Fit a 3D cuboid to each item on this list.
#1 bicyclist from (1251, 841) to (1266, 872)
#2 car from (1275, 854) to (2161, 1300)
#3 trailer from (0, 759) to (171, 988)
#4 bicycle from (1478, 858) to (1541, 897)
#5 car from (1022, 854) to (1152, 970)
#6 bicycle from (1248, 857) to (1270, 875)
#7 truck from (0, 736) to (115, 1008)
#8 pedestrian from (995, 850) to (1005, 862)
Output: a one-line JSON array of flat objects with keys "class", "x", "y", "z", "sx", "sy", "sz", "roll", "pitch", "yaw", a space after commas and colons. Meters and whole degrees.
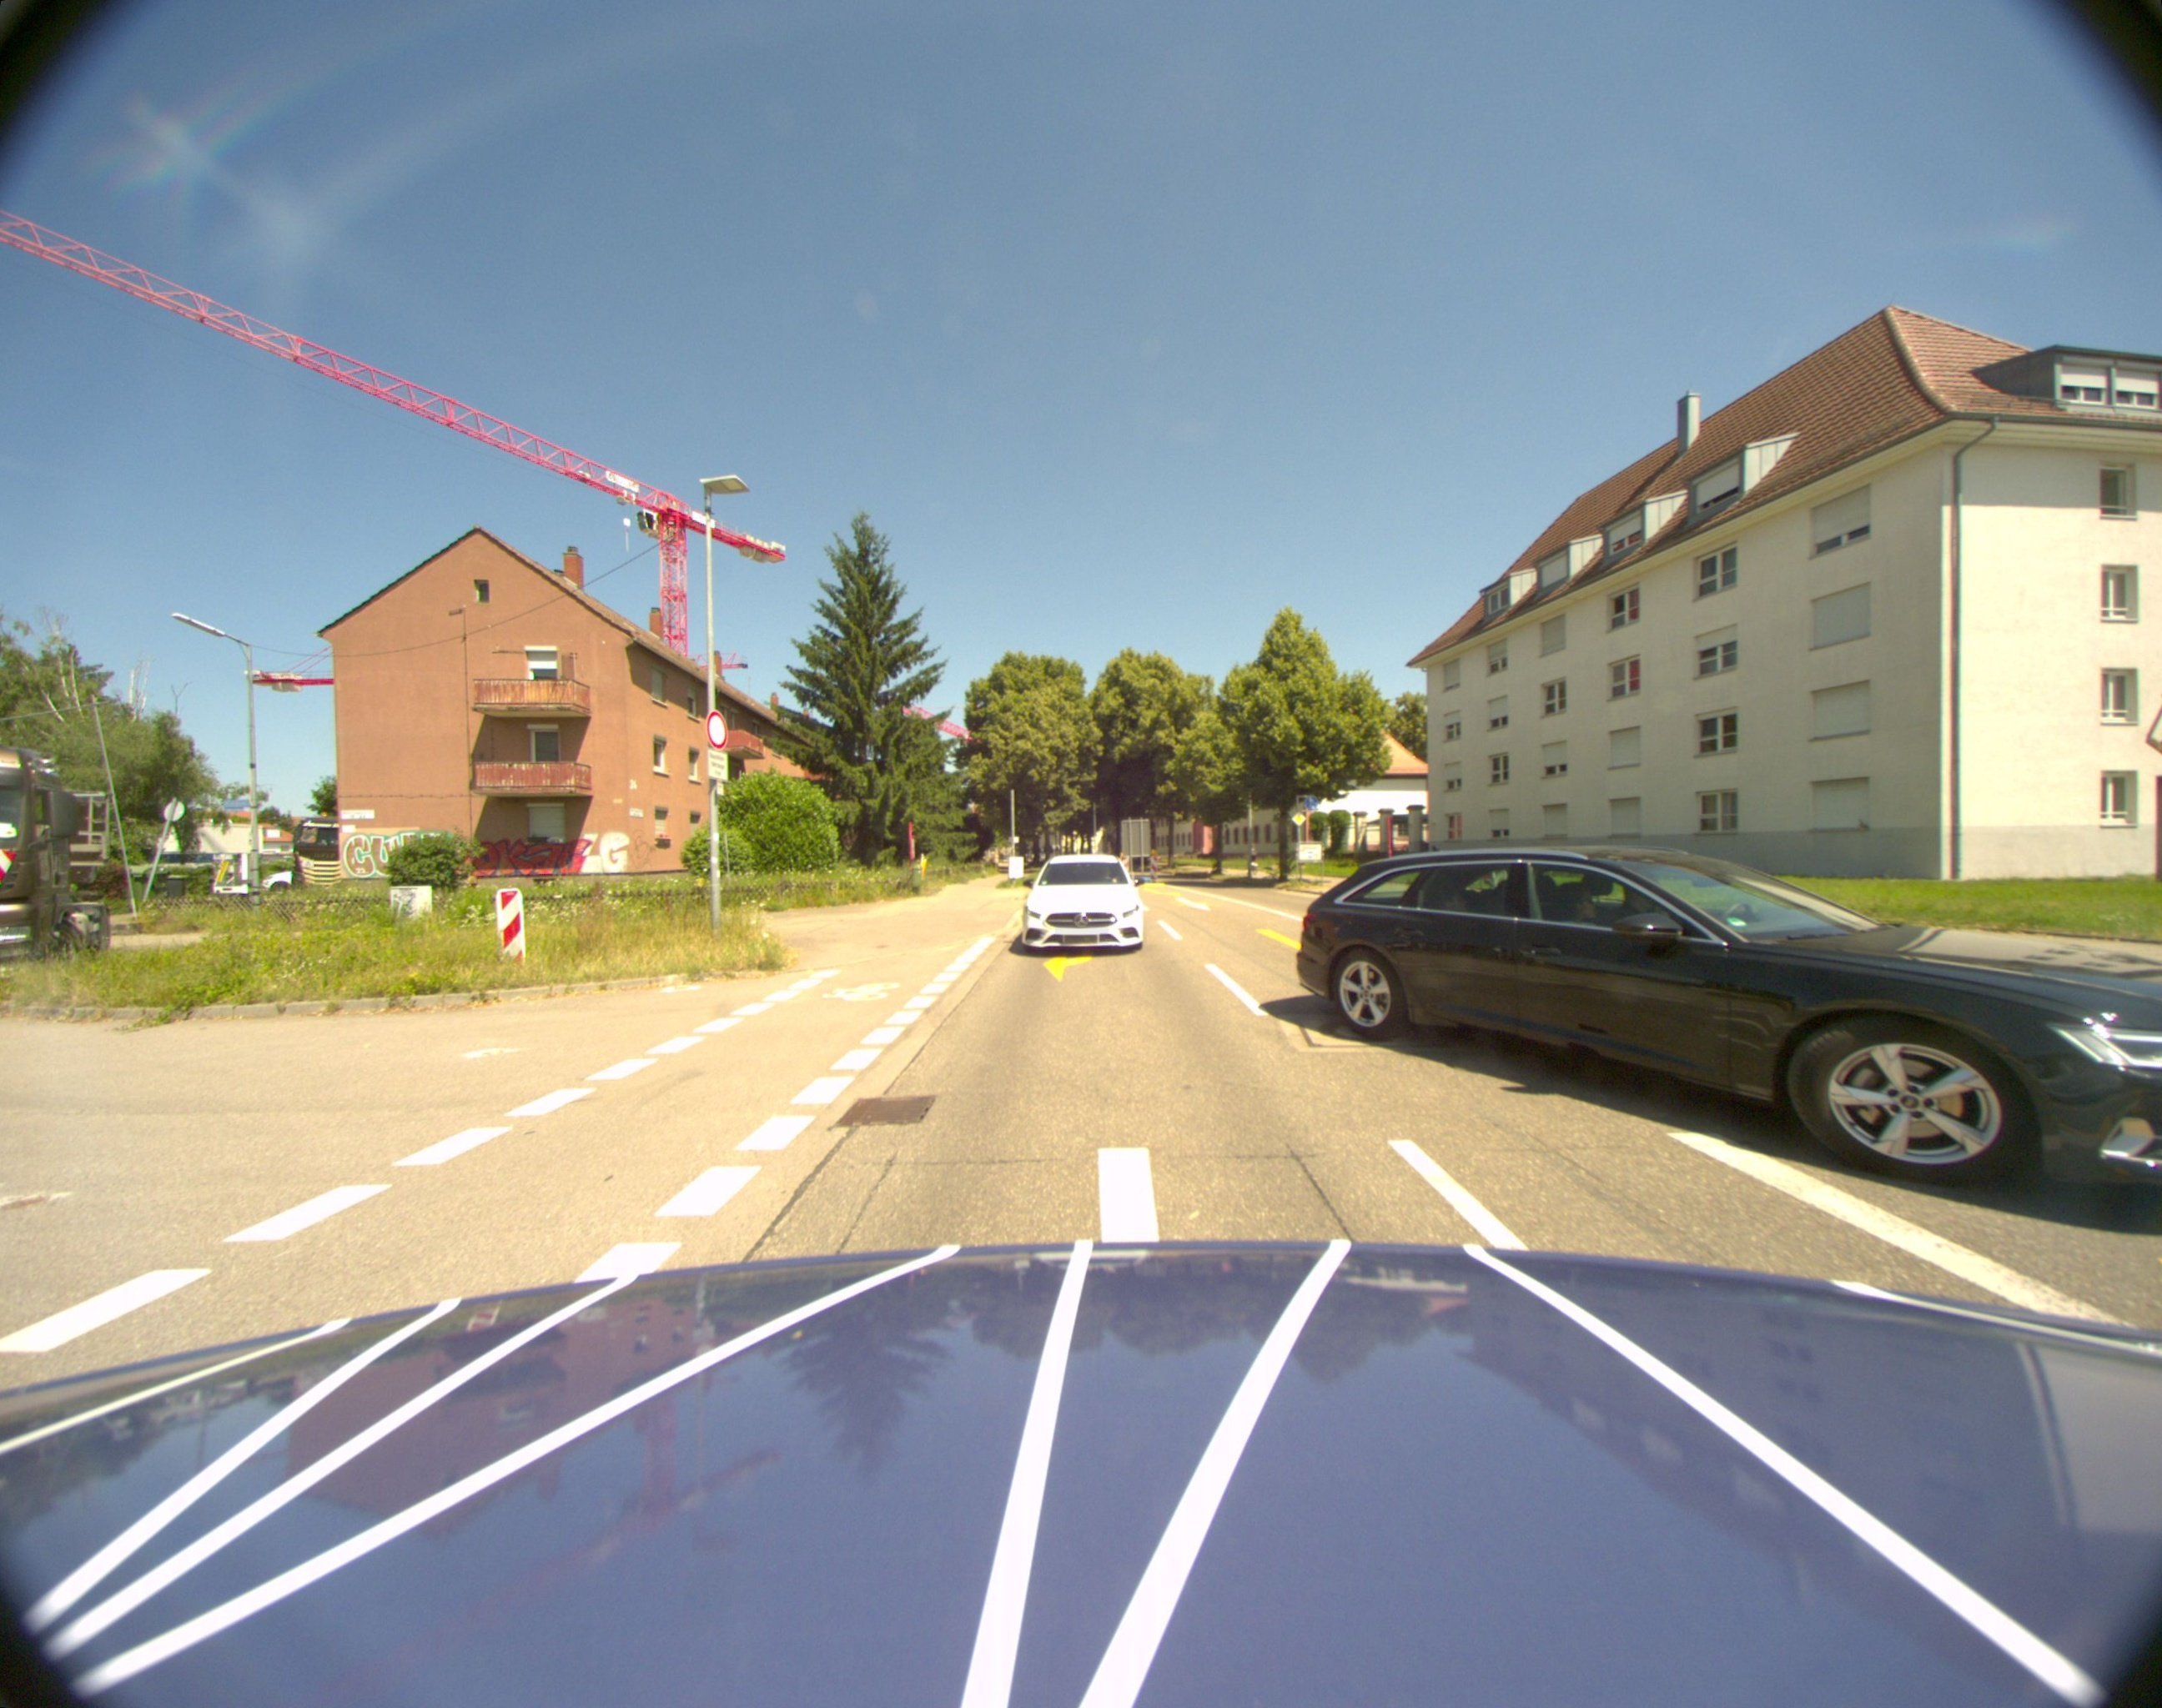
[{"class": "bicyclist", "x": 9.387, "y": 0.111, "z": 40.179, "sx": 0.568, "sy": 1.601, "sz": 0.740, "roll": -1, "pitch": 1, "yaw": -5}, {"class": "car", "x": 3.508, "y": 0.775, "z": 4.801, "sx": 1.804, "sy": 1.443, "sz": 4.608, "roll": -3, "pitch": 1, "yaw": -26}, {"class": "trailer", "x": -20.828, "y": 0.373, "z": 13.271, "sx": 8.973, "sy": 3.512, "sz": 3.169, "roll": -1, "pitch": 1, "yaw": 18}, {"class": "bicycle", "x": 12.665, "y": 0.670, "z": 22.525, "sx": 0.709, "sy": 1.018, "sz": 1.985, "roll": -4, "pitch": 1, "yaw": 0}, {"class": "car", "x": -0.009, "y": 0.811, "z": 12.541, "sx": 1.780, "sy": 1.536, "sz": 3.962, "roll": -2, "pitch": 0, "yaw": -3}, {"class": "bicycle", "x": 9.402, "y": 0.635, "z": 40.162, "sx": 0.562, "sy": 0.910, "sz": 1.907, "roll": -1, "pitch": 1, "yaw": -5}, {"class": "truck", "x": -16.495, "y": 0.278, "z": 10.681, "sx": 4.950, "sy": 3.512, "sz": 3.171, "roll": -1, "pitch": 1, "yaw": 42}, {"class": "pedestrian", "x": -9.891, "y": 0.253, "z": 92.938, "sx": 1.024, "sy": 1.509, "sz": 0.682, "roll": -1, "pitch": 1, "yaw": 0}]
